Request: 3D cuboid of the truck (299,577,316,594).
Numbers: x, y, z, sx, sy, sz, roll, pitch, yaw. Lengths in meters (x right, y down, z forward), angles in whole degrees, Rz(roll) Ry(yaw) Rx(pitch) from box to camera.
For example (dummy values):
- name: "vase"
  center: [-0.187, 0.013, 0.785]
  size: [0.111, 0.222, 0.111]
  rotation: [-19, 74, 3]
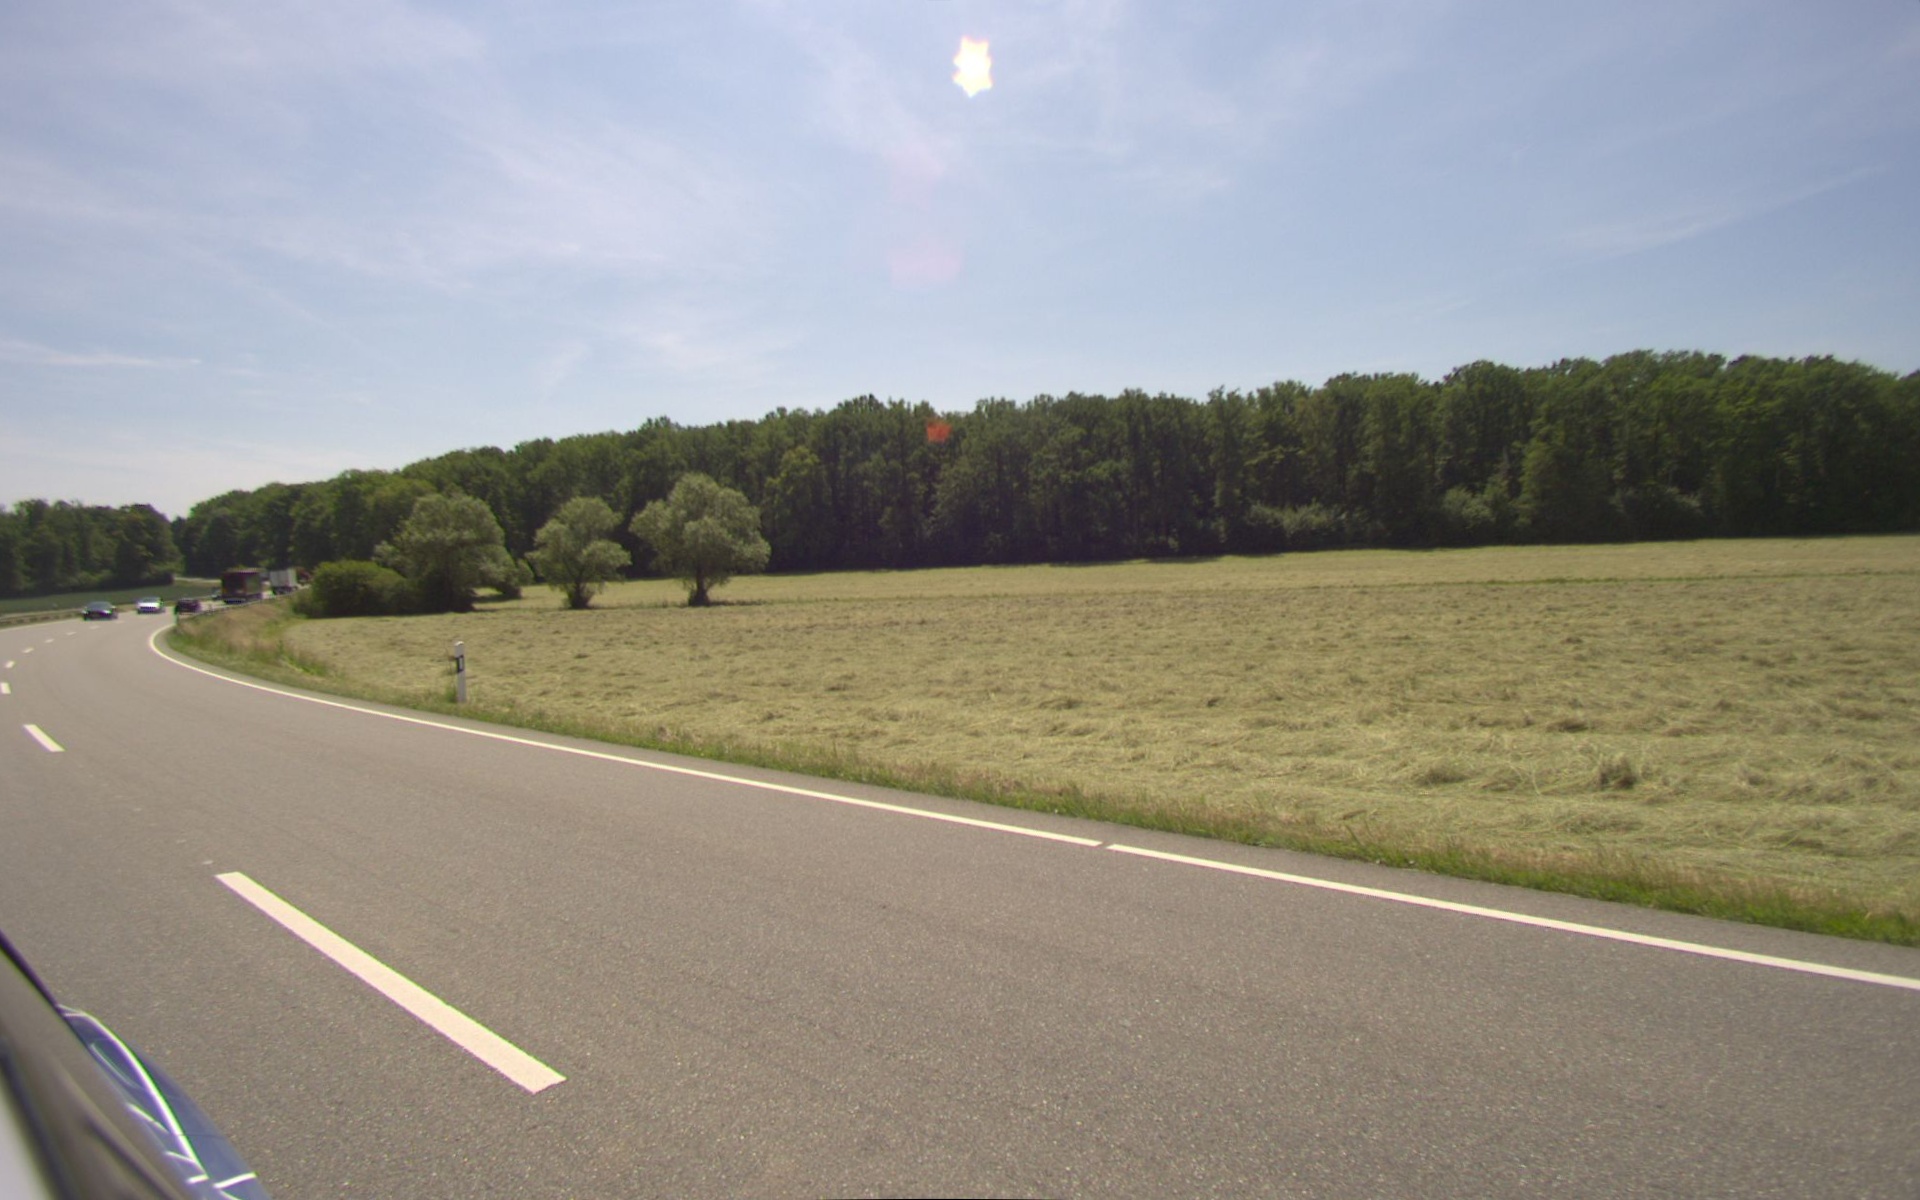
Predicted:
- name: "truck"
  center: [-146.808, -3.263, 227.654]
  size: [2.666, 3.677, 10.131]
  rotation: [-2, 2, -31]

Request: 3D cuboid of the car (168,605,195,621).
- name: "car"
  center: [-73.424, 1.177, 95.512]
  size: [1.677, 1.480, 4.212]
  rotation: [1, 0, -33]

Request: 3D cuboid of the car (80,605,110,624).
- name: "car"
  center: [-69.427, 1.147, 81.259]
  size: [1.596, 1.447, 3.451]
  rotation: [-2, 2, -37]

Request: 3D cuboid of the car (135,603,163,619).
- name: "car"
  center: [-78.215, 1.045, 97.642]
  size: [1.595, 1.447, 3.453]
  rotation: [-2, 2, -31]

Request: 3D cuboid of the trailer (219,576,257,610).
- name: "trailer"
  center: [-93.912, -0.876, 131.829]
  size: [3.197, 4.181, 14.485]
  rotation: [1, 0, -32]

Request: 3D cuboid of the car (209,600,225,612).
- name: "car"
  center: [-104.174, 0.827, 141.905]
  size: [1.596, 1.447, 3.452]
  rotation: [-2, 2, -35]

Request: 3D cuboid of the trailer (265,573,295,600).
- name: "trailer"
  center: [-116.236, -2.304, 173.198]
  size: [3.326, 4.434, 13.789]
  rotation: [0, 1, -30]
